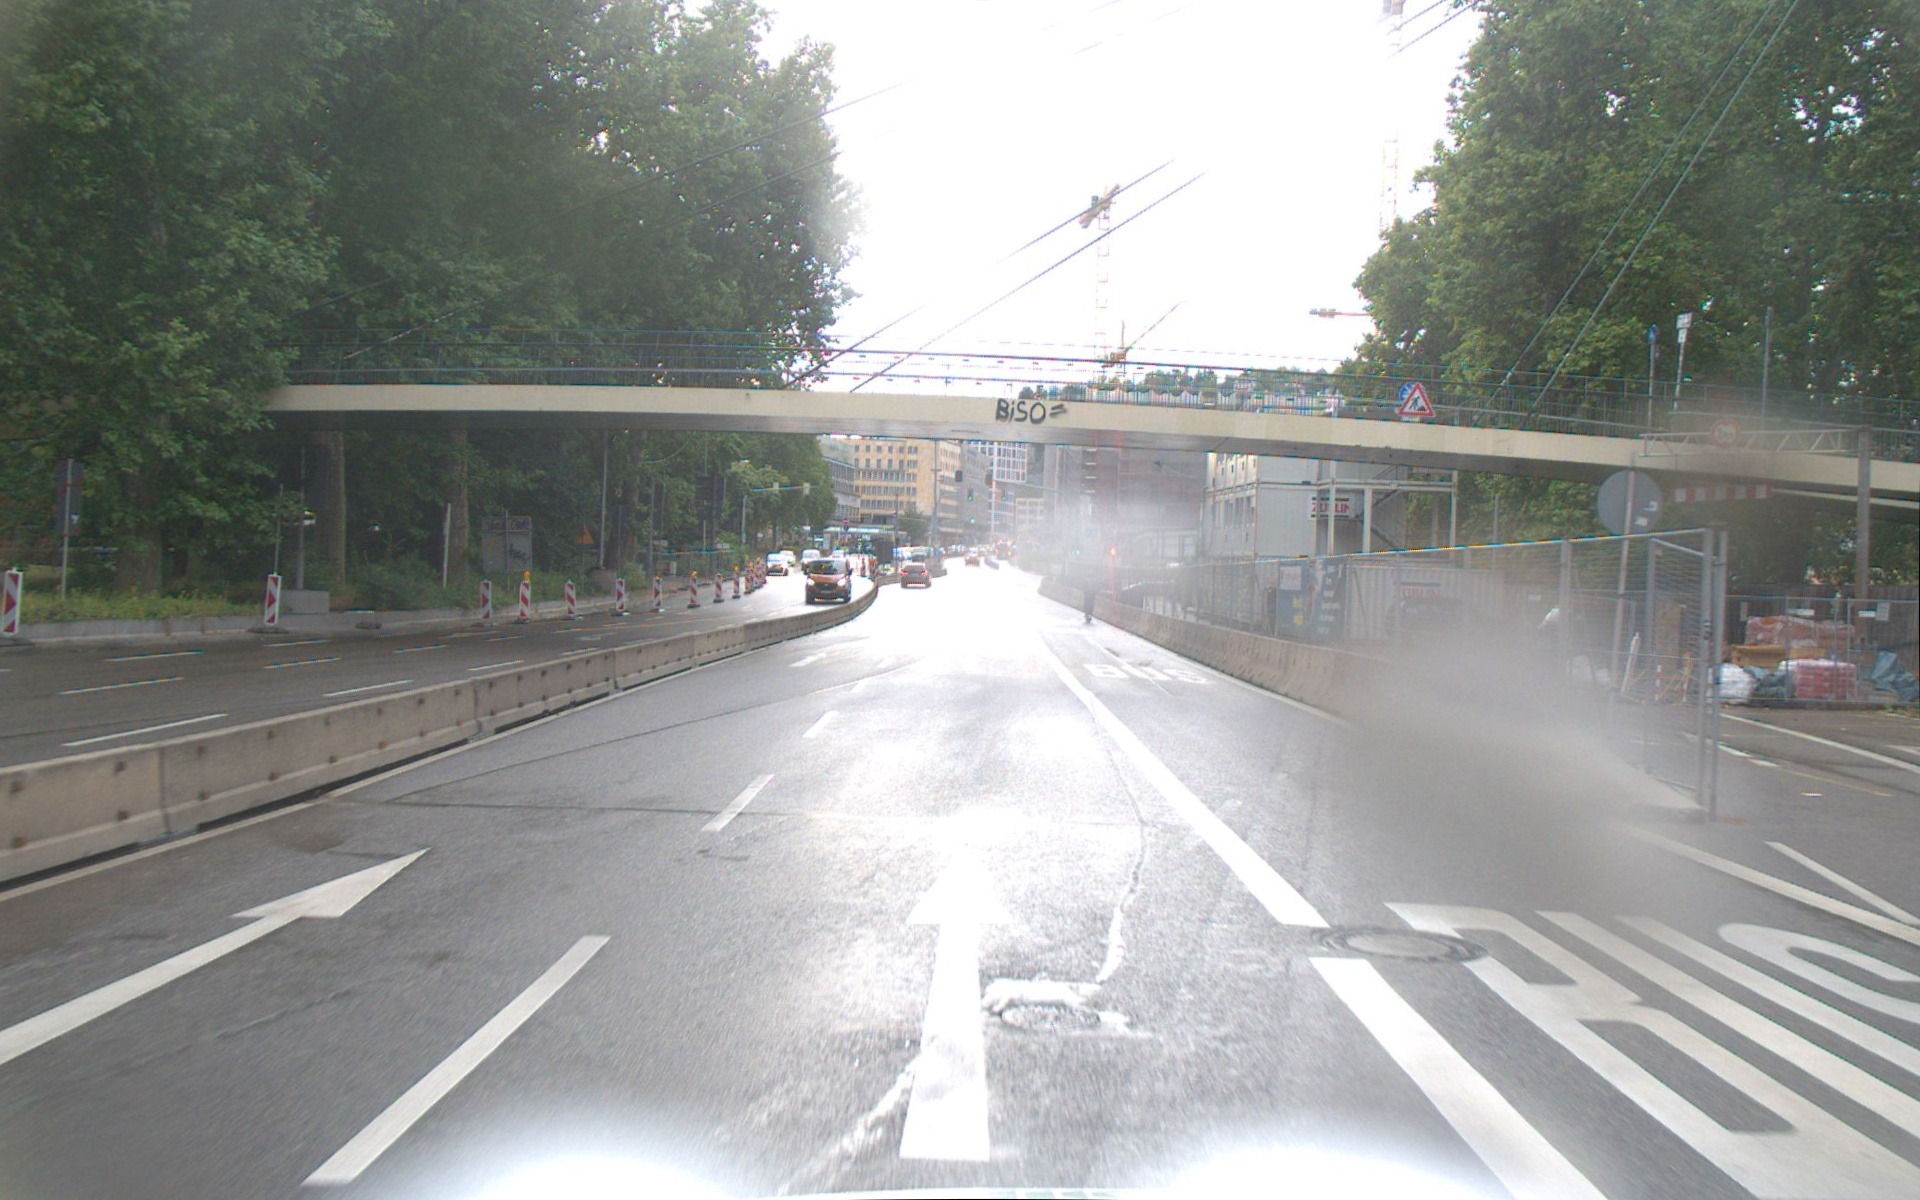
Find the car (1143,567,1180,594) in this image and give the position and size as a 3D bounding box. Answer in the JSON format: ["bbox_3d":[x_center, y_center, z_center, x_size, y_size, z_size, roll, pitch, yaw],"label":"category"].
[{"bbox_3d":[16.532,-1.625,135.733,1.875,2.009,5.158,2,1,-5],"label":"car"}]

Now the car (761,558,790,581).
[{"bbox_3d":[-14.533,-2.440,130.329,1.994,1.682,4.310,1,2,-10],"label":"car"}]

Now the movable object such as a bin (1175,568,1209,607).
[{"bbox_3d":[13.799,-0.751,98.324,1.437,2.241,1.256,1,3,-24],"label":"movable object such as a bin"}]

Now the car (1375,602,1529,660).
[{"bbox_3d":[16.070,0.999,54.149,4.451,1.657,1.787,2,2,-2],"label":"car"}]

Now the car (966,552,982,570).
[{"bbox_3d":[1.732,-4.811,205.833,1.952,2.049,4.000,0,-1,1],"label":"car"}]

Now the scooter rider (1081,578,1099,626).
[{"bbox_3d":[5.083,0.070,64.855,0.585,1.816,0.997,2,1,2],"label":"scooter rider"}]

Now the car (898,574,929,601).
[{"bbox_3d":[-2.897,-0.772,102.505,1.864,1.555,4.175,0,-1,-3],"label":"car"}]

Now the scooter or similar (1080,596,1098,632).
[{"bbox_3d":[5.071,0.530,64.884,0.585,1.342,1.668,2,1,2],"label":"scooter or similar"}]

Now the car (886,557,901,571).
[{"bbox_3d":[-8.436,-4.547,208.559,1.864,1.555,4.175,0,-1,-3],"label":"car"}]

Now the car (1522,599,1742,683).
[{"bbox_3d":[16.008,0.951,39.552,4.411,1.758,1.998,2,0,-5],"label":"car"}]

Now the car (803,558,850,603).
[{"bbox_3d":[-6.271,-0.858,77.111,1.992,1.970,5.036,0,-1,-7],"label":"car"}]
